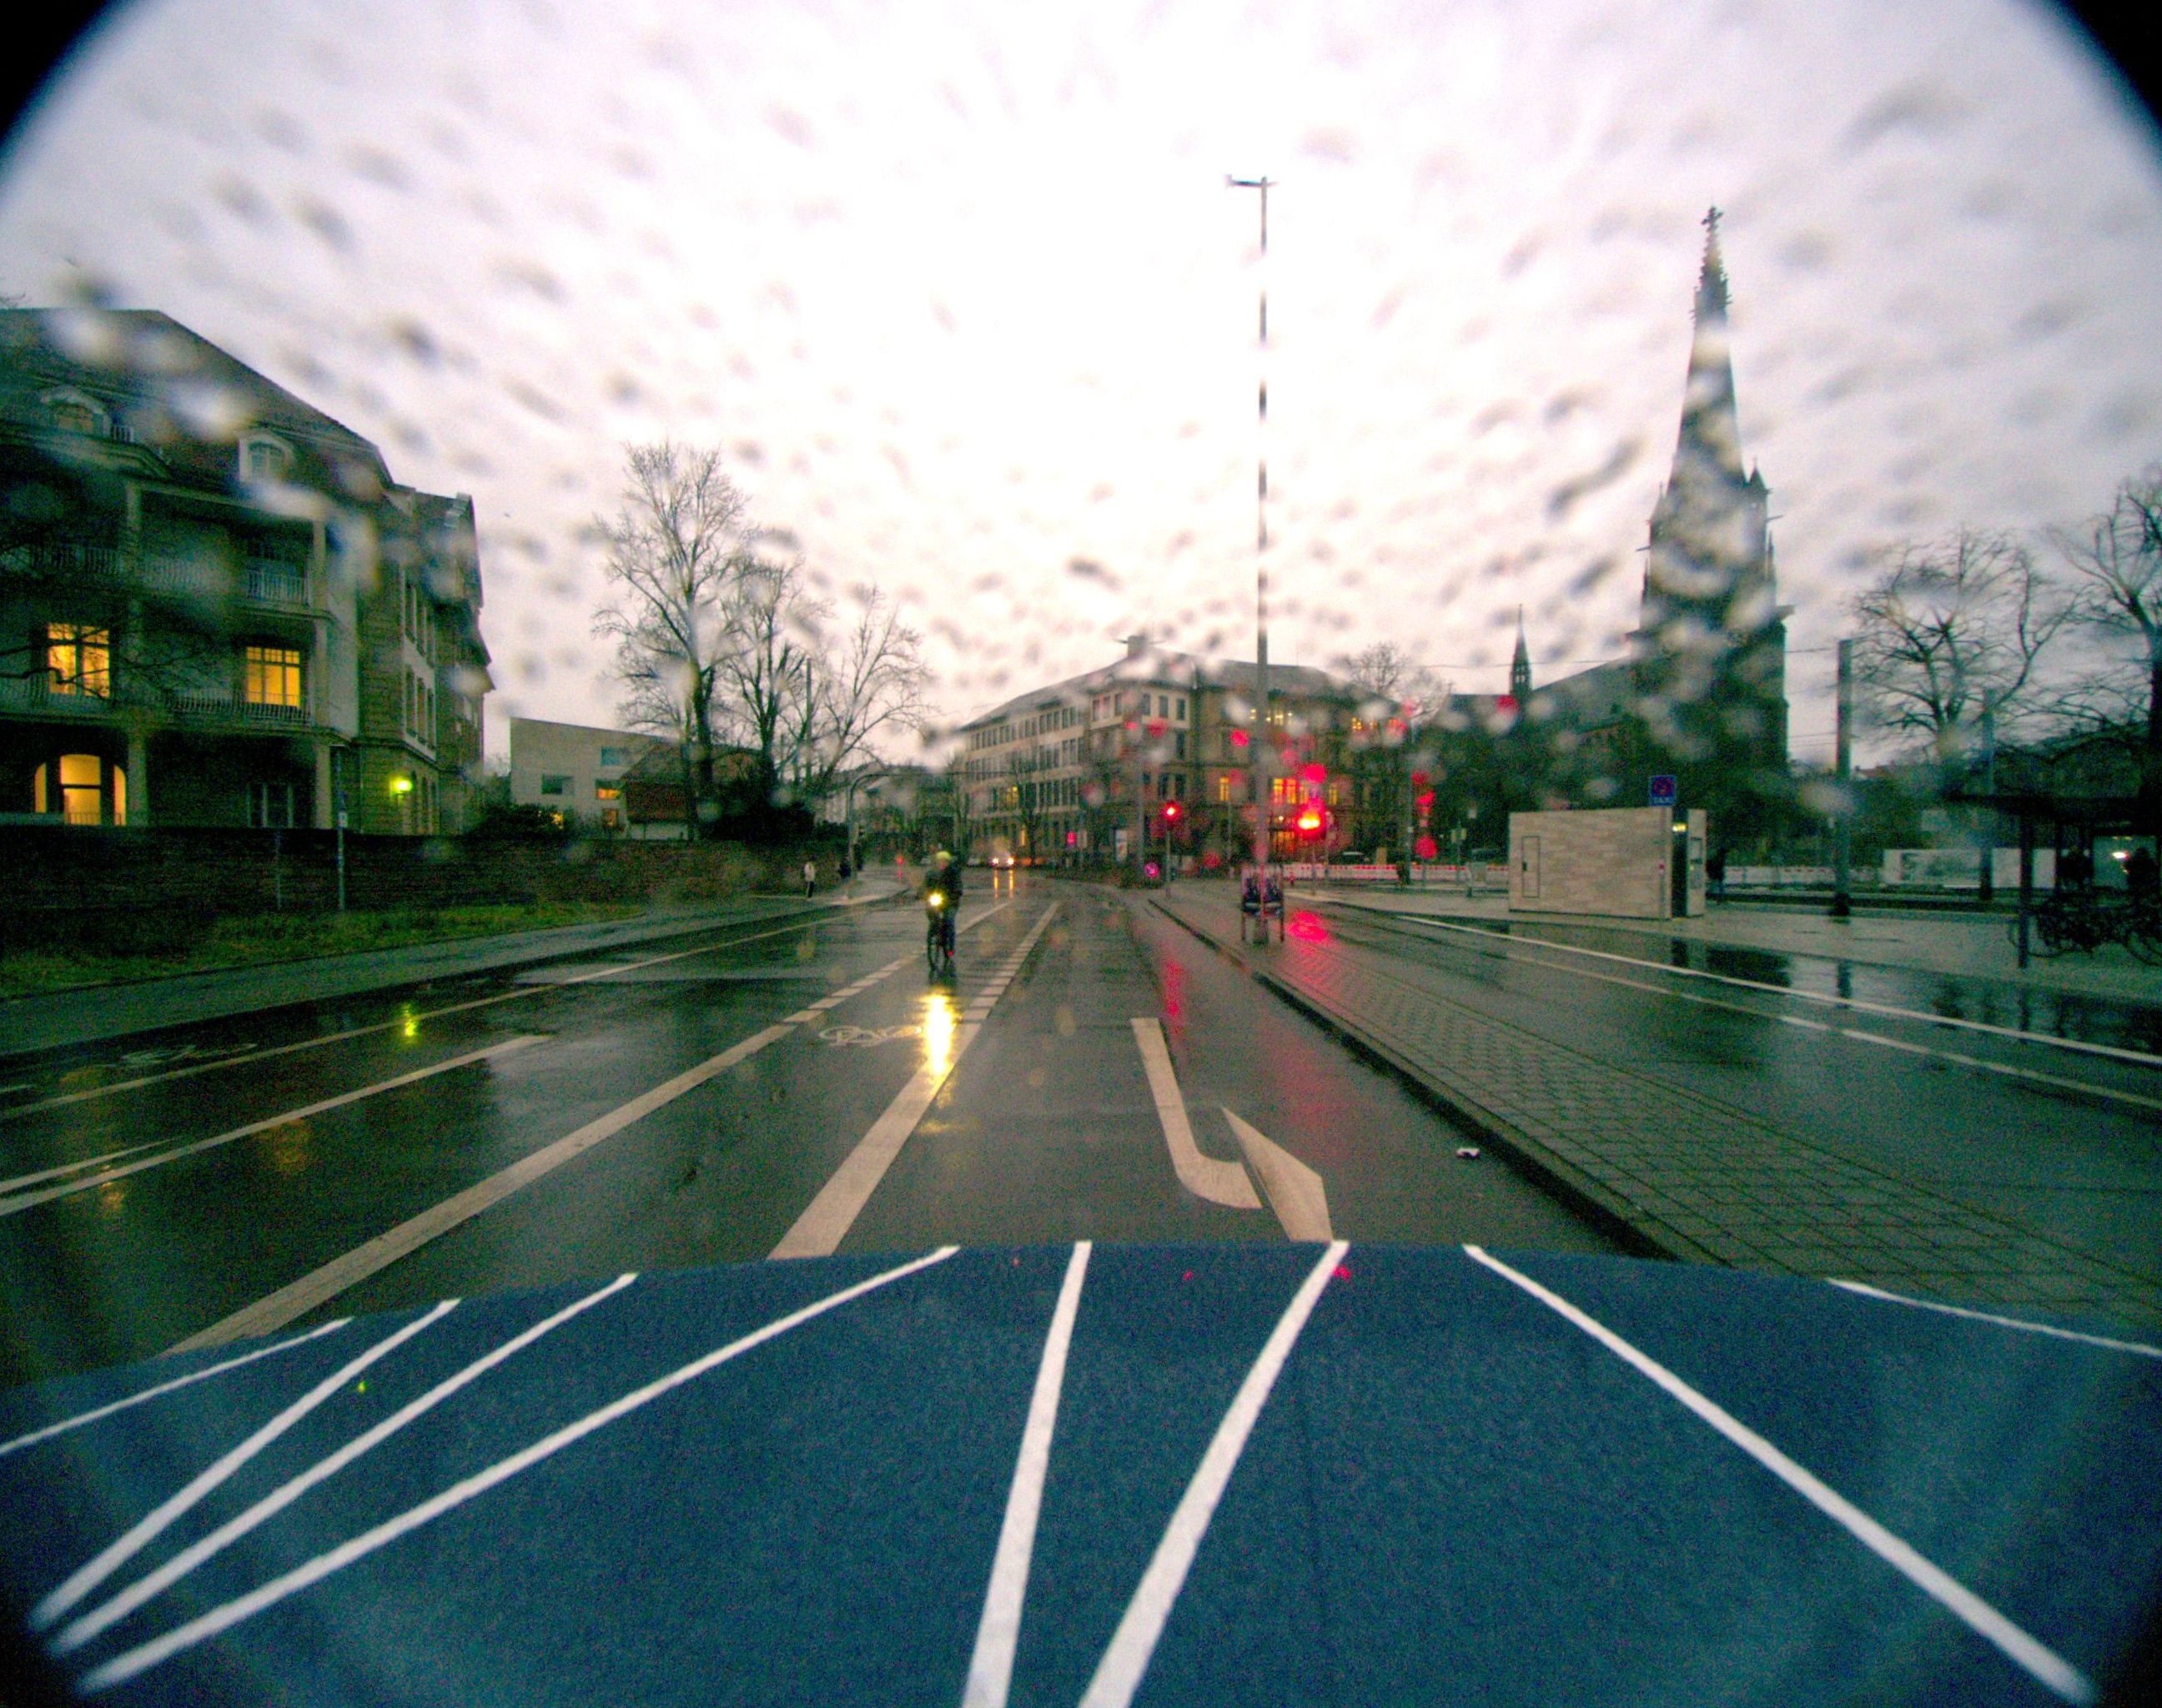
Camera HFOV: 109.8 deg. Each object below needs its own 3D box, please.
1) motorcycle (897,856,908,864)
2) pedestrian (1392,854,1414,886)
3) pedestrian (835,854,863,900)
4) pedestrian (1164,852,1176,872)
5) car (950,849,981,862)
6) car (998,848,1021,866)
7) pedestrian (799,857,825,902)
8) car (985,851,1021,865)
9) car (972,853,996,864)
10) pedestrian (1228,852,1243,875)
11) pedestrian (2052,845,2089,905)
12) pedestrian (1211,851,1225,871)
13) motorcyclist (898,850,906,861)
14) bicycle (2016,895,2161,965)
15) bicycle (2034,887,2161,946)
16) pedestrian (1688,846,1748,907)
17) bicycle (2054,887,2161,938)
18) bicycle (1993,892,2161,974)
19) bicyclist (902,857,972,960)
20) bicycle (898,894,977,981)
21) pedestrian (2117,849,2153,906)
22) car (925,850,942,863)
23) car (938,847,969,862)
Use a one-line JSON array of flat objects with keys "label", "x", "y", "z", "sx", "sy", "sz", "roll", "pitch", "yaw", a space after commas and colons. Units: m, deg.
[{"label": "motorcycle", "x": -23.542, "y": 0.783, "z": 100.069, "sx": 0.714, "sy": 1.048, "sz": 2.162, "roll": 0, "pitch": 0, "yaw": -34}, {"label": "pedestrian", "x": 16.932, "y": 0.833, "z": 39.893, "sx": 0.771, "sy": 1.651, "sz": 1.210, "roll": -1, "pitch": 1, "yaw": 36}, {"label": "pedestrian", "x": -9.531, "y": 0.935, "z": 31.199, "sx": 1.000, "sy": 1.890, "sz": 0.673, "roll": 1, "pitch": 1, "yaw": -8}, {"label": "pedestrian", "x": 8.044, "y": 0.686, "z": 68.738, "sx": 0.675, "sy": 1.806, "sz": 0.896, "roll": 0, "pitch": 1, "yaw": -30}, {"label": "car", "x": -15.089, "y": 0.201, "z": 99.412, "sx": 1.797, "sy": 1.541, "sz": 4.007, "roll": -2, "pitch": 1, "yaw": 28}, {"label": "car", "x": -7.818, "y": 0.319, "z": 83.338, "sx": 1.882, "sy": 1.835, "sz": 4.000, "roll": -2, "pitch": 1, "yaw": 2}, {"label": "pedestrian", "x": -10.568, "y": 0.990, "z": 29.857, "sx": 0.798, "sy": 1.713, "sz": 0.674, "roll": 1, "pitch": 1, "yaw": -5}, {"label": "car", "x": -9.278, "y": 0.483, "z": 90.542, "sx": 1.797, "sy": 1.541, "sz": 4.007, "roll": -1, "pitch": 1, "yaw": 45}, {"label": "car", "x": -12.133, "y": 0.576, "z": 95.314, "sx": 1.706, "sy": 1.298, "sz": 3.647, "roll": -2, "pitch": 1, "yaw": 16}, {"label": "pedestrian", "x": 12.721, "y": 0.751, "z": 62.689, "sx": 0.675, "sy": 1.890, "sz": 0.971, "roll": 0, "pitch": 1, "yaw": -39}, {"label": "pedestrian", "x": 30.237, "y": 0.645, "z": 23.221, "sx": 0.673, "sy": 1.785, "sz": 0.626, "roll": -3, "pitch": 2, "yaw": -41}, {"label": "pedestrian", "x": 12.142, "y": 0.618, "z": 67.403, "sx": 0.829, "sy": 1.714, "sz": 0.926, "roll": 0, "pitch": 0, "yaw": -29}, {"label": "motorcyclist", "x": -23.610, "y": 0.186, "z": 100.176, "sx": 0.702, "sy": 1.375, "sz": 0.864, "roll": 0, "pitch": 0, "yaw": -34}, {"label": "bicycle", "x": 16.618, "y": 1.215, "z": 12.222, "sx": 0.475, "sy": 0.980, "sz": 1.921, "roll": -2, "pitch": 2, "yaw": -30}, {"label": "bicycle", "x": 19.693, "y": 1.170, "z": 14.433, "sx": 0.475, "sy": 0.980, "sz": 1.921, "roll": -2, "pitch": 2, "yaw": -30}, {"label": "pedestrian", "x": 19.096, "y": 0.658, "z": 22.788, "sx": 1.013, "sy": 1.754, "sz": 1.065, "roll": 1, "pitch": 0, "yaw": -30}, {"label": "bicycle", "x": 20.849, "y": 1.163, "z": 15.023, "sx": 0.475, "sy": 0.905, "sz": 1.921, "roll": -2, "pitch": 2, "yaw": -30}, {"label": "bicycle", "x": 15.500, "y": 1.182, "z": 11.617, "sx": 0.475, "sy": 1.064, "sz": 1.921, "roll": -2, "pitch": 2, "yaw": -30}, {"label": "bicyclist", "x": -2.171, "y": 0.795, "z": 11.611, "sx": 0.785, "sy": 1.444, "sz": 1.134, "roll": -2, "pitch": 1, "yaw": 1}, {"label": "bicycle", "x": -2.157, "y": 1.232, "z": 11.694, "sx": 0.785, "sy": 1.069, "sz": 1.957, "roll": -2, "pitch": 1, "yaw": 1}, {"label": "pedestrian", "x": 31.049, "y": 0.694, "z": 22.392, "sx": 0.541, "sy": 1.642, "sz": 0.562, "roll": -3, "pitch": 2, "yaw": -41}, {"label": "car", "x": -20.734, "y": 0.373, "z": 106.852, "sx": 2.000, "sy": 1.660, "sz": 3.997, "roll": -2, "pitch": 1, "yaw": -7}, {"label": "car", "x": -16.994, "y": 0.077, "z": 101.477, "sx": 2.043, "sy": 1.889, "sz": 4.007, "roll": -2, "pitch": 1, "yaw": 28}]
